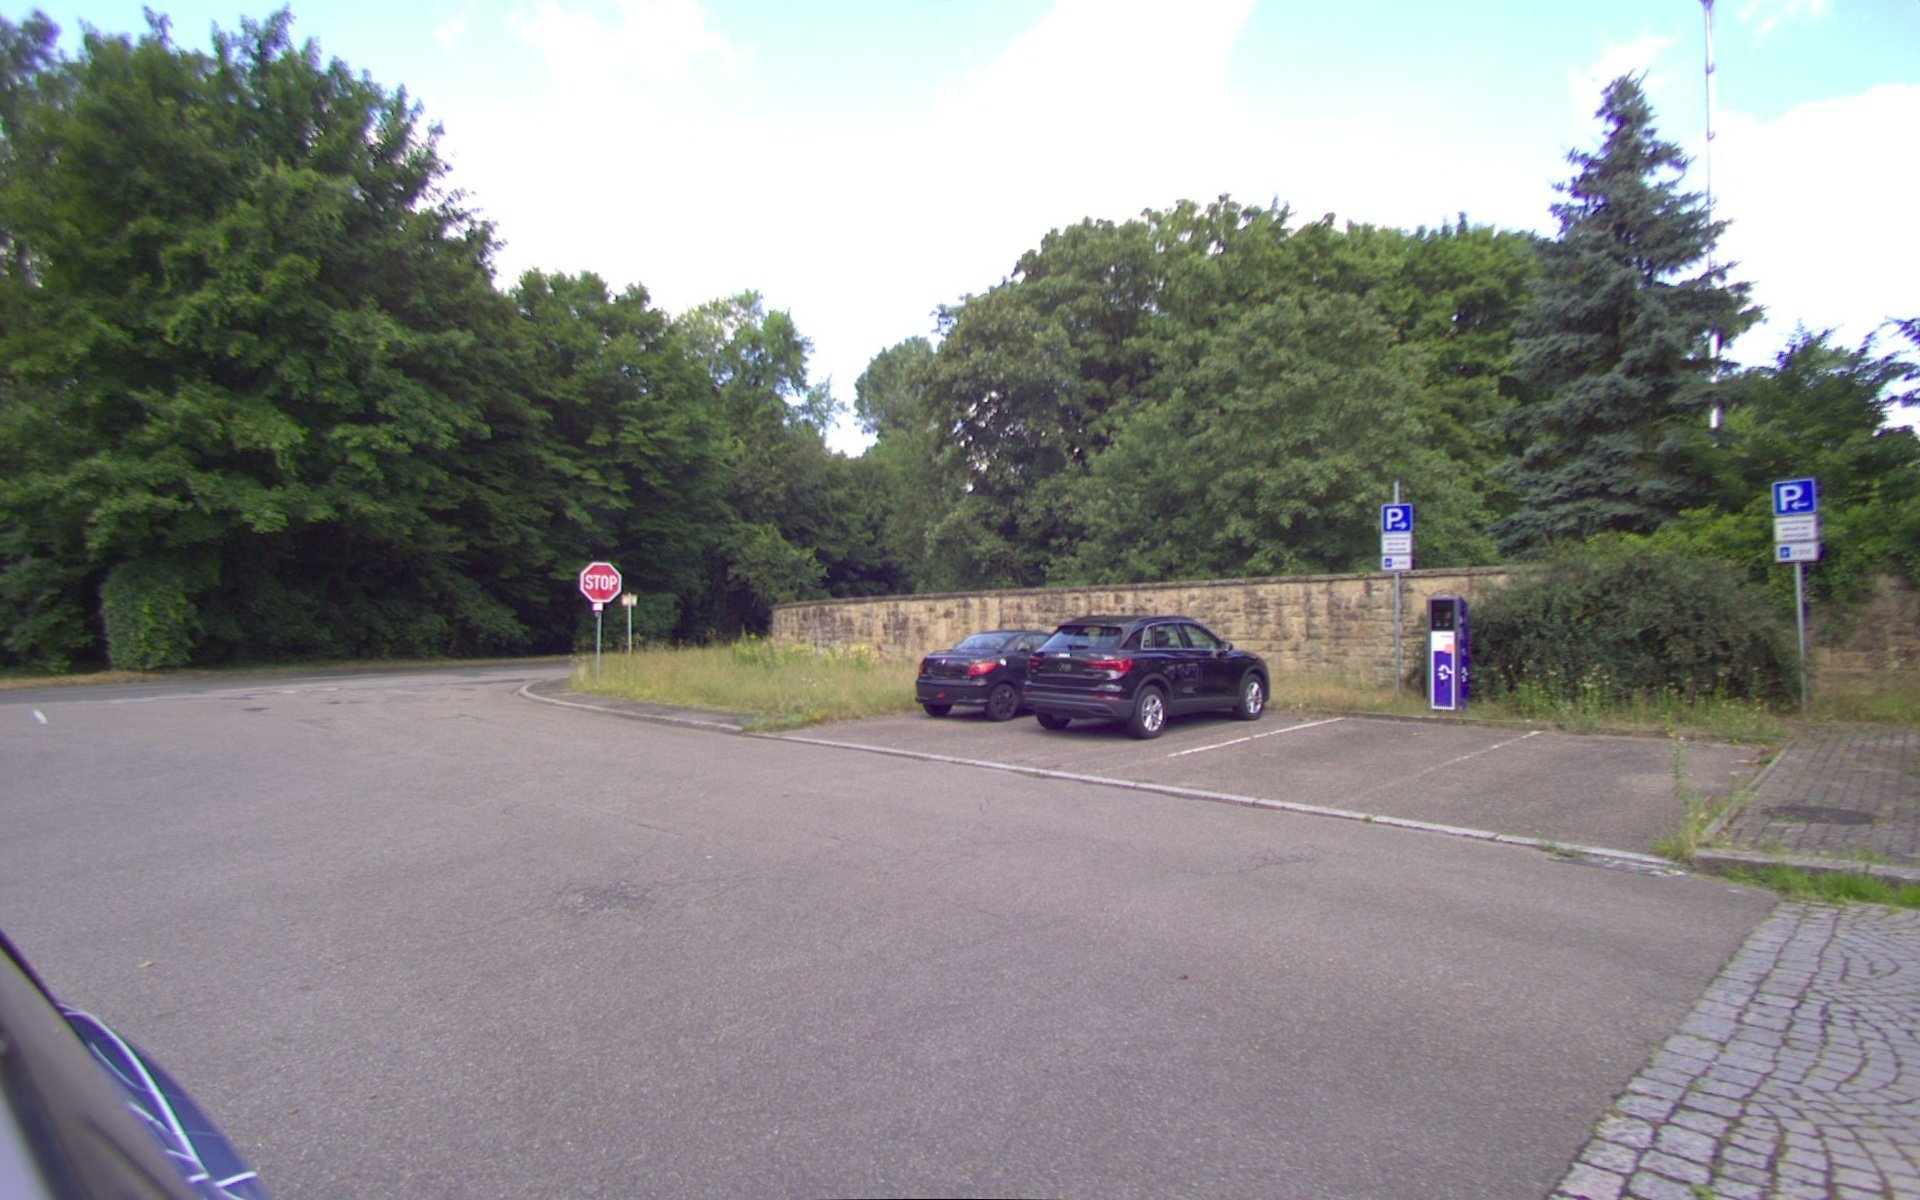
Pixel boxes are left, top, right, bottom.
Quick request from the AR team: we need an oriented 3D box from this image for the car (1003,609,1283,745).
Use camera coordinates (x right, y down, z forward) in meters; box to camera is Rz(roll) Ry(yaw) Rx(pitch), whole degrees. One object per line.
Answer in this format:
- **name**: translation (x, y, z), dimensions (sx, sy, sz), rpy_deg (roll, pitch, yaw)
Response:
- **car**: translation (2.690, 0.980, 14.379), dimensions (3.939, 1.558, 1.902), rpy_deg (-1, -1, -43)

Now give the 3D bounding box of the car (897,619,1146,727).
- **car**: translation (1.091, 1.111, 16.757), dimensions (3.939, 1.452, 1.882), rpy_deg (-1, -1, -42)
